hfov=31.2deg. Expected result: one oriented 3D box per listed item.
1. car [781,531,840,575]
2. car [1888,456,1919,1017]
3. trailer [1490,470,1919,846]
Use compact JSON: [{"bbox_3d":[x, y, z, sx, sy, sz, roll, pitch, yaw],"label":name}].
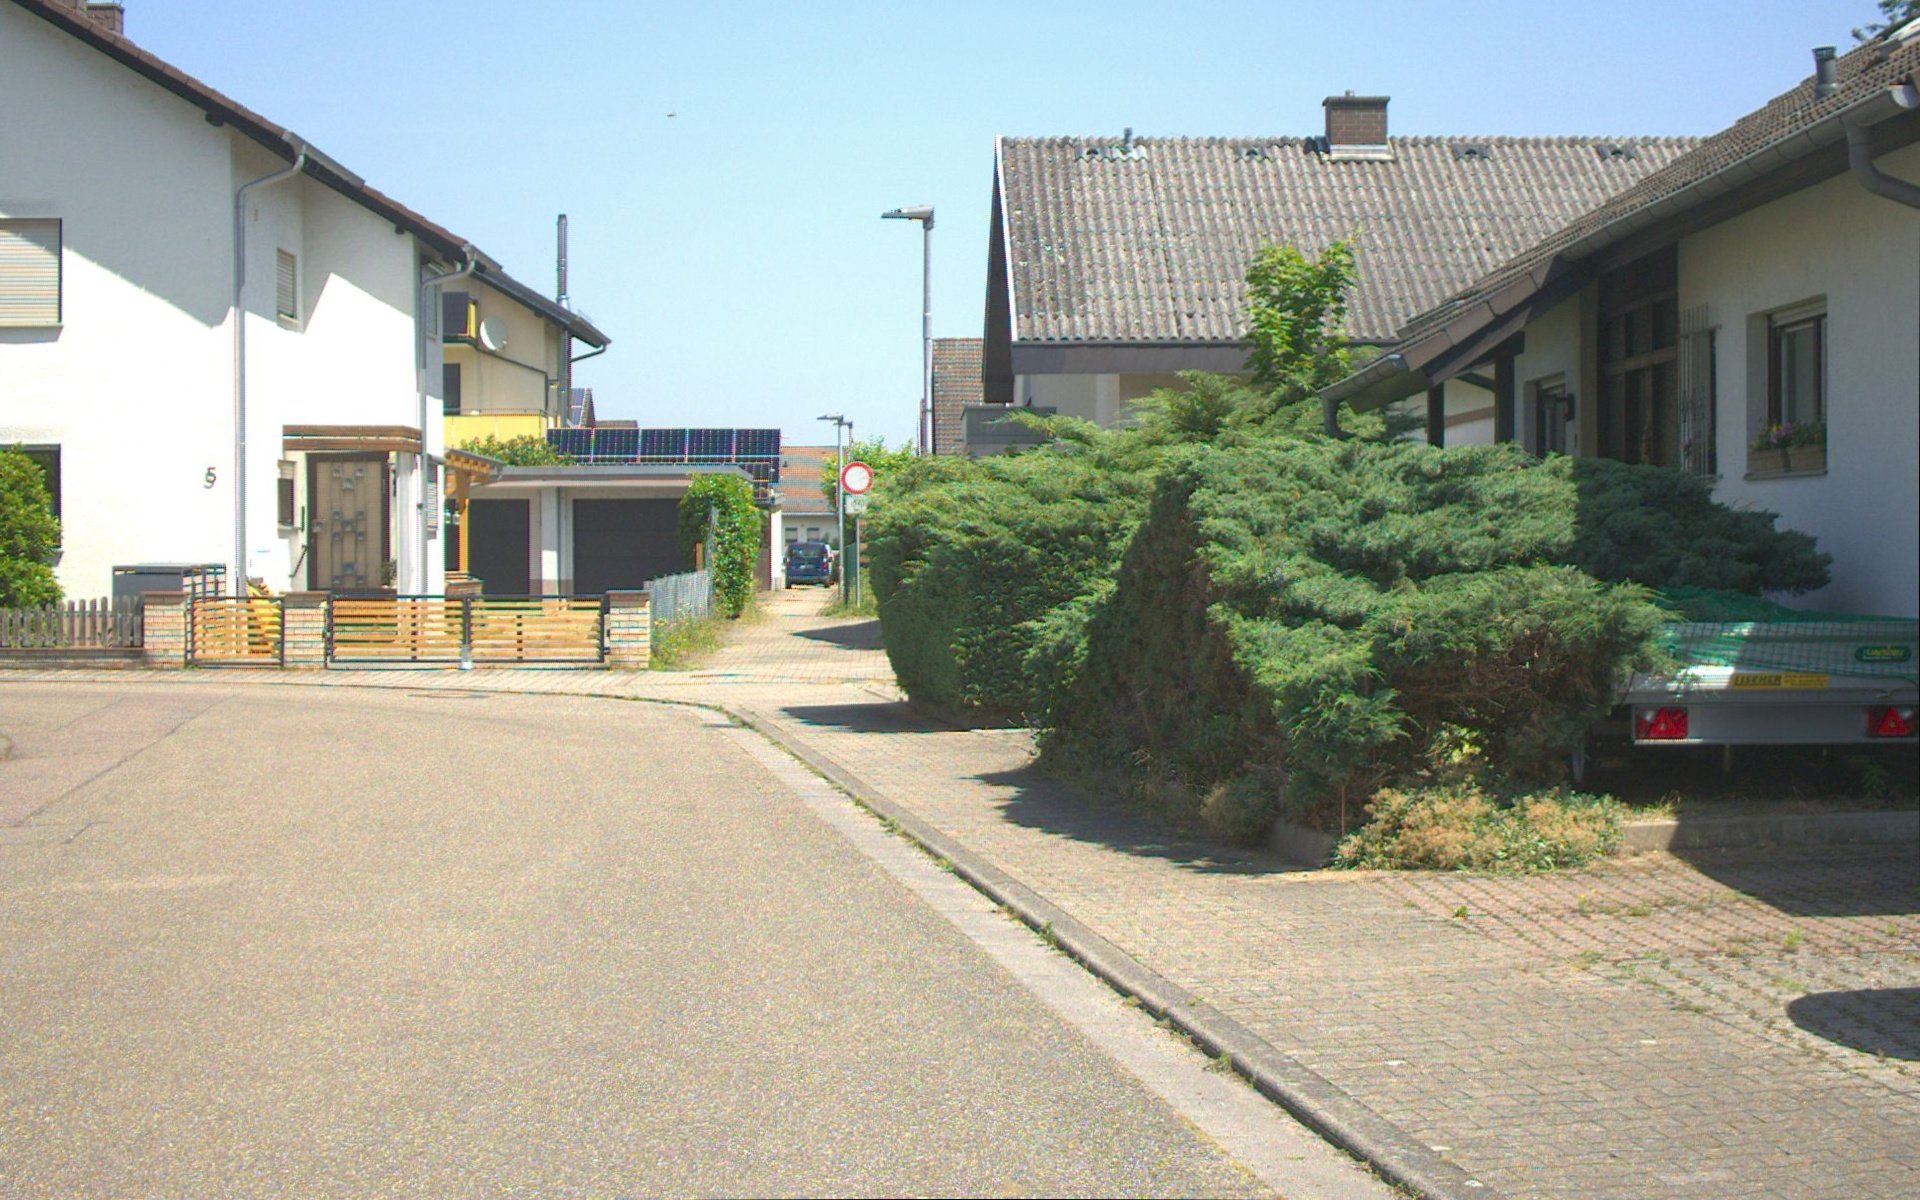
[{"bbox_3d":[-5.875,-1.870,135.241,2.193,1.695,3.807,0,1,-1],"label":"car"},{"bbox_3d":[5.173,0.360,9.692,4.627,1.696,1.709,-2,1,2],"label":"car"},{"bbox_3d":[3.750,0.215,17.281,1.587,1.666,3.297,-2,2,-1],"label":"trailer"}]
